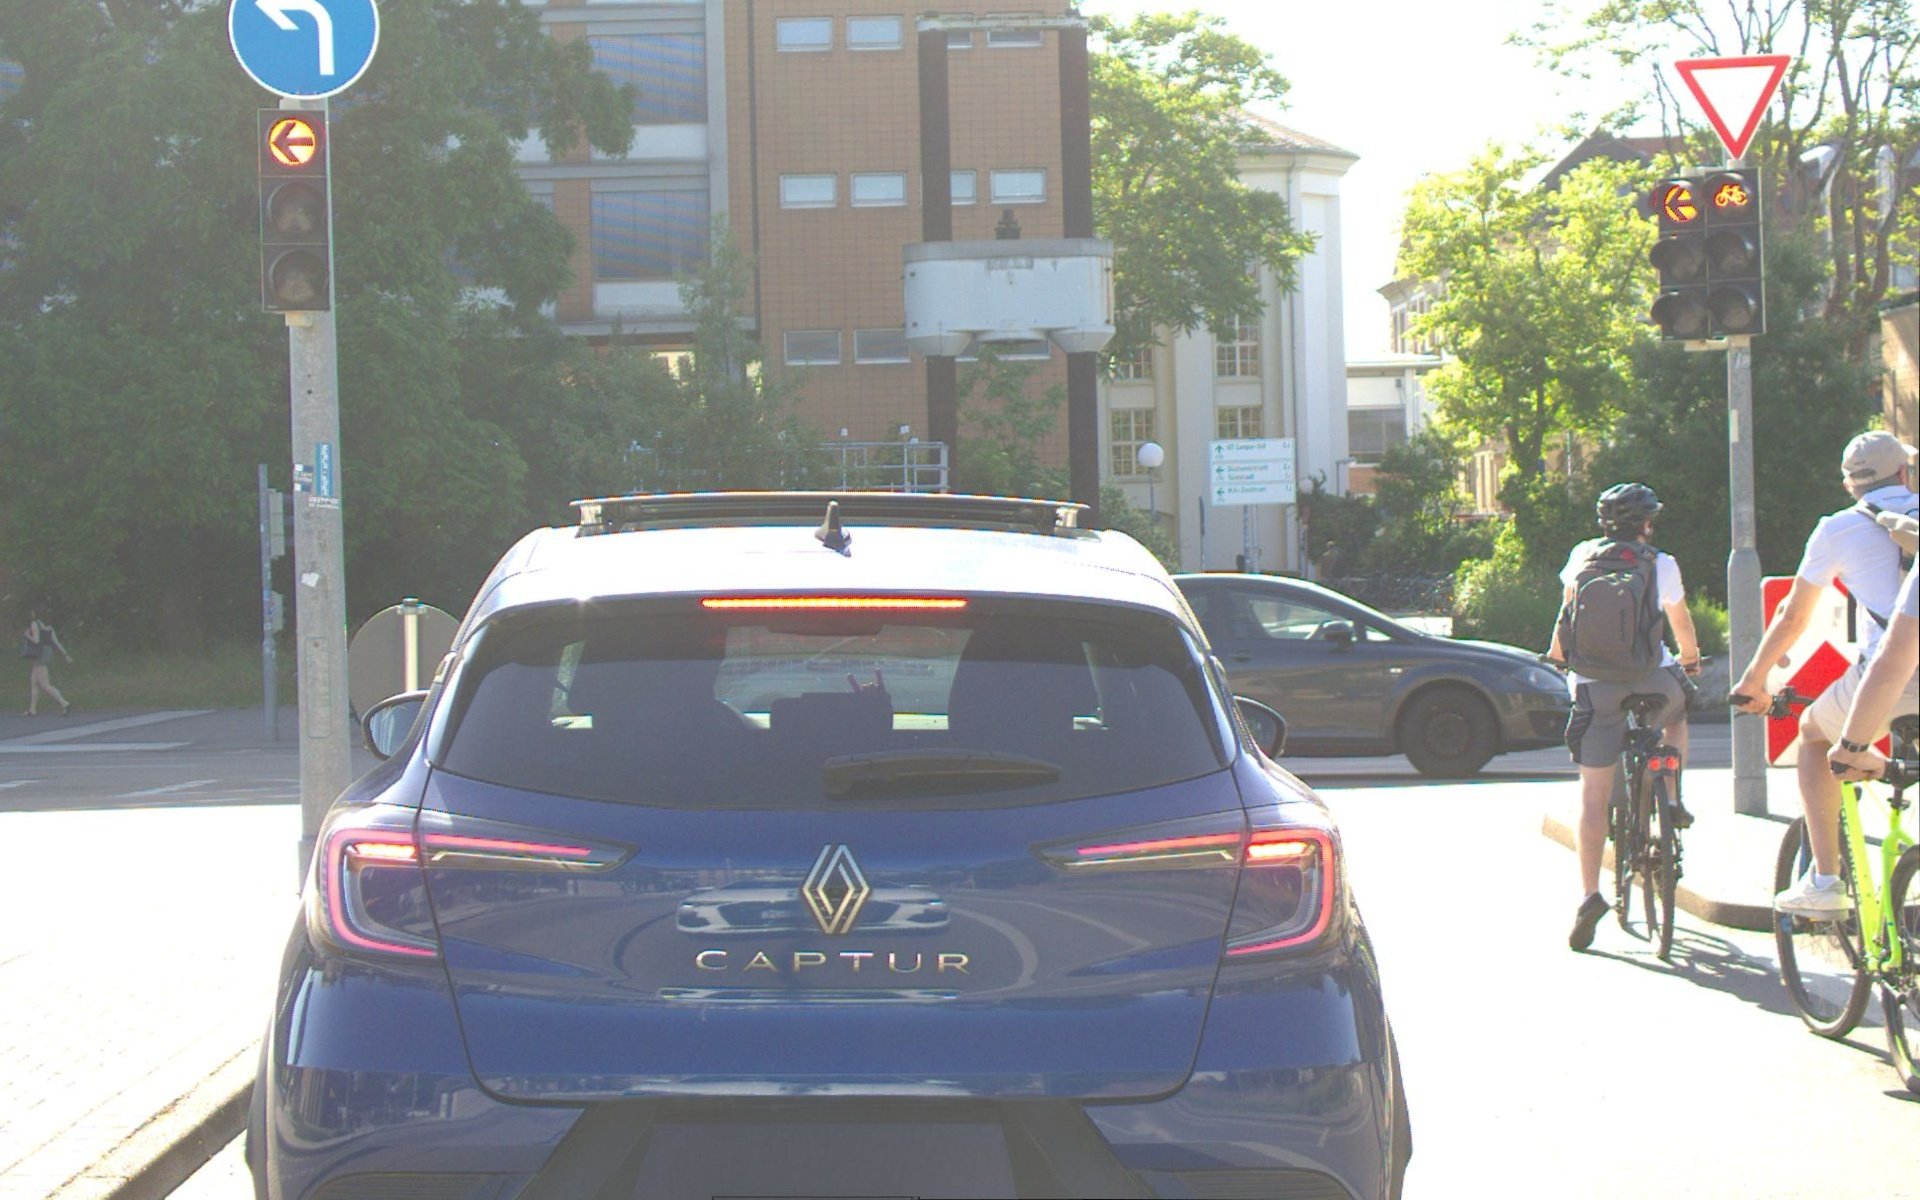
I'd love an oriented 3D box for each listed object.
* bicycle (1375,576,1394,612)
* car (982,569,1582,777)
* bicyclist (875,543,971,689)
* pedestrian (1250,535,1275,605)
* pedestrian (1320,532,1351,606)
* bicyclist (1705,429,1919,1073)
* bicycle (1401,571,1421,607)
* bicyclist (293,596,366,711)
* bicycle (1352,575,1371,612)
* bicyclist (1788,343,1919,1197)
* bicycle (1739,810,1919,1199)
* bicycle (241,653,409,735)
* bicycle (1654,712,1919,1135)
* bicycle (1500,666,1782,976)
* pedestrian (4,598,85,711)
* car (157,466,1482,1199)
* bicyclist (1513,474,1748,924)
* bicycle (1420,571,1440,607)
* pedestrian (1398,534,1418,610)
[{"bbox_3d":[11.613,-0.173,94.040,0.405,0.969,1.683,1,1,4],"label":"bicycle"},{"bbox_3d":[2.306,0.547,24.287,4.058,1.384,1.843,-1,-3,9],"label":"car"},{"bbox_3d":[-0.477,0.204,44.827,1.102,1.861,0.652,-1,1,10],"label":"bicyclist"},{"bbox_3d":[8.085,-0.797,91.900,0.613,1.849,0.467,-1,1,6],"label":"pedestrian"},{"bbox_3d":[9.498,-0.785,86.966,0.623,1.849,0.563,-1,1,-8],"label":"pedestrian"},{"bbox_3d":[2.623,0.406,9.813,0.645,1.733,1.067,1,0,-6],"label":"bicyclist"},{"bbox_3d":[12.381,-0.309,94.406,0.405,0.969,1.683,1,1,4],"label":"bicycle"},{"bbox_3d":[-8.033,0.672,43.790,0.737,1.436,0.598,-2,1,-27],"label":"bicyclist"},{"bbox_3d":[10.991,-0.182,94.083,0.405,0.969,1.683,1,1,4],"label":"bicycle"},{"bbox_3d":[2.237,0.332,7.195,0.751,1.663,1.016,1,0,1],"label":"bicyclist"},{"bbox_3d":[2.232,0.964,7.244,0.740,0.893,1.978,1,1,1],"label":"bicycle"},{"bbox_3d":[-8.081,1.186,43.772,2.005,0.961,0.598,-2,1,-27],"label":"bicycle"},{"bbox_3d":[2.612,0.864,9.824,0.659,0.999,1.970,1,1,-6],"label":"bicycle"},{"bbox_3d":[2.511,0.780,12.904,0.739,0.992,2.173,1,1,3],"label":"bicycle"},{"bbox_3d":[-13.271,0.784,49.844,0.860,1.565,0.559,-4,0,15],"label":"pedestrian"},{"bbox_3d":[-0.268,0.613,6.699,1.803,1.626,4.000,0,1,-2],"label":"car"},{"bbox_3d":[2.508,0.354,12.949,0.726,1.623,0.969,1,0,4],"label":"bicyclist"},{"bbox_3d":[12.917,-0.302,94.419,0.405,0.969,1.683,1,1,4],"label":"bicycle"},{"bbox_3d":[12.038,-0.754,92.397,0.475,2.007,0.468,-1,1,6],"label":"pedestrian"}]
